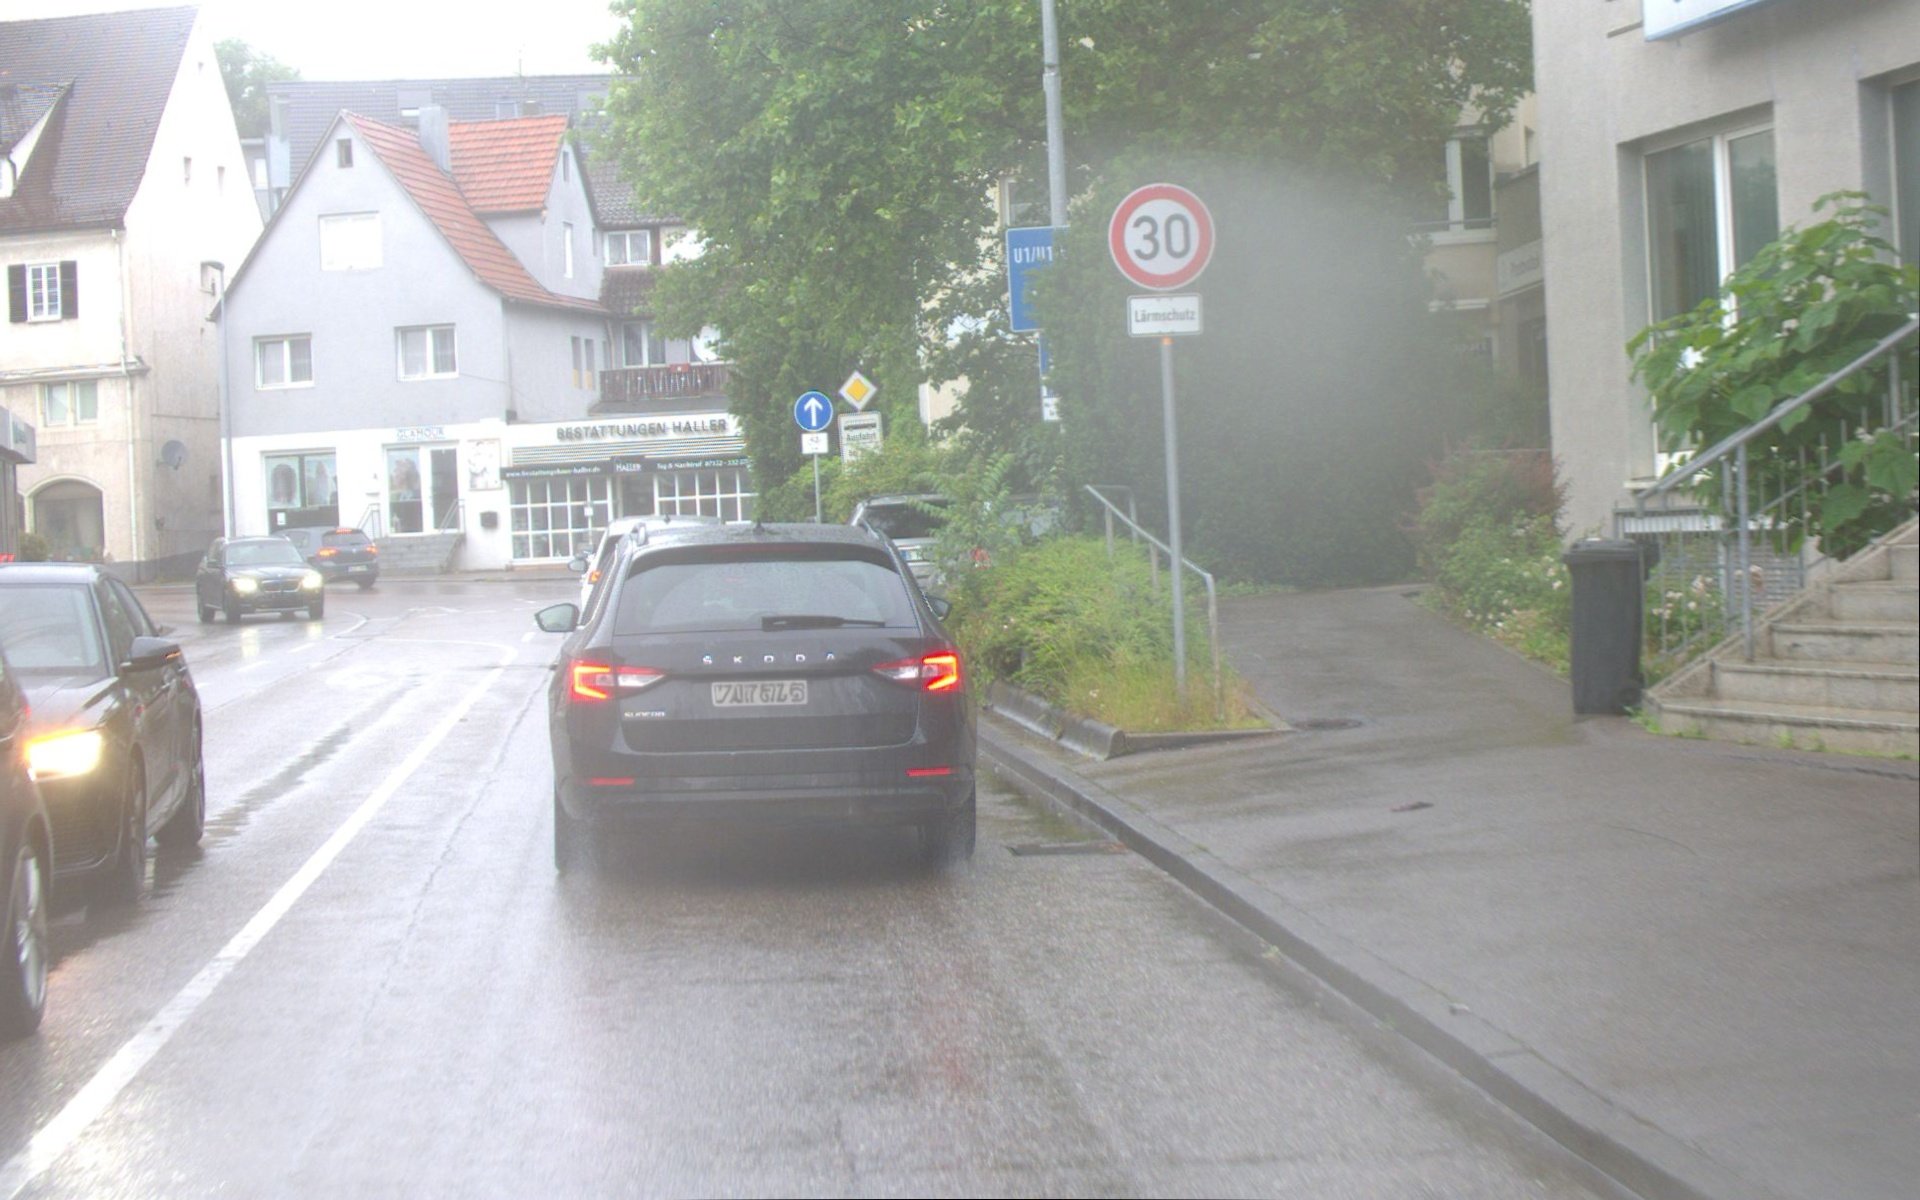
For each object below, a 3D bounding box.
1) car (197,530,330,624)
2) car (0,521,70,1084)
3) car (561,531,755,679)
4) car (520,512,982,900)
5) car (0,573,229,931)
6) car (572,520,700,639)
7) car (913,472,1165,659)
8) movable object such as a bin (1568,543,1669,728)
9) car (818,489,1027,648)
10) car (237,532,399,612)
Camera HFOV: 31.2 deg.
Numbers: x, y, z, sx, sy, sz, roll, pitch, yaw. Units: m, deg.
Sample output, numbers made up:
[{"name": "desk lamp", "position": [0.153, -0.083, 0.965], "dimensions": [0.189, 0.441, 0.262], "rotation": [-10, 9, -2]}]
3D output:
[{"name": "car", "position": [-12.805, -0.398, 63.047], "dimensions": [1.658, 1.565, 4.001], "rotation": [-3, 1, -21]}, {"name": "car", "position": [-3.470, 0.611, 8.497], "dimensions": [1.784, 1.557, 4.403], "rotation": [-2, 1, -6]}, {"name": "car", "position": [-3.068, 0.022, 35.433], "dimensions": [1.817, 1.355, 3.990], "rotation": [-3, 1, -4]}, {"name": "car", "position": [-0.946, 0.384, 15.691], "dimensions": [1.782, 1.478, 4.246], "rotation": [-2, 1, -3]}, {"name": "car", "position": [-4.315, 0.599, 15.339], "dimensions": [1.616, 1.329, 3.954], "rotation": [-2, 1, -6]}, {"name": "car", "position": [-4.869, -0.275, 52.068], "dimensions": [1.727, 1.585, 4.184], "rotation": [-2, -2, -3]}, {"name": "car", "position": [0.720, -0.352, 33.927], "dimensions": [1.852, 1.635, 3.539], "rotation": [-4, 1, -8]}, {"name": "movable object such as a bin", "position": [3.600, 0.186, 18.785], "dimensions": [0.512, 0.942, 0.602], "rotation": [1, 5, 13]}, {"name": "car", "position": [-0.485, -0.381, 39.822], "dimensions": [1.852, 1.635, 3.872], "rotation": [-4, 1, -8]}, {"name": "car", "position": [-14.745, -0.643, 78.845], "dimensions": [1.894, 1.585, 3.686], "rotation": [-4, 0, -42]}]
